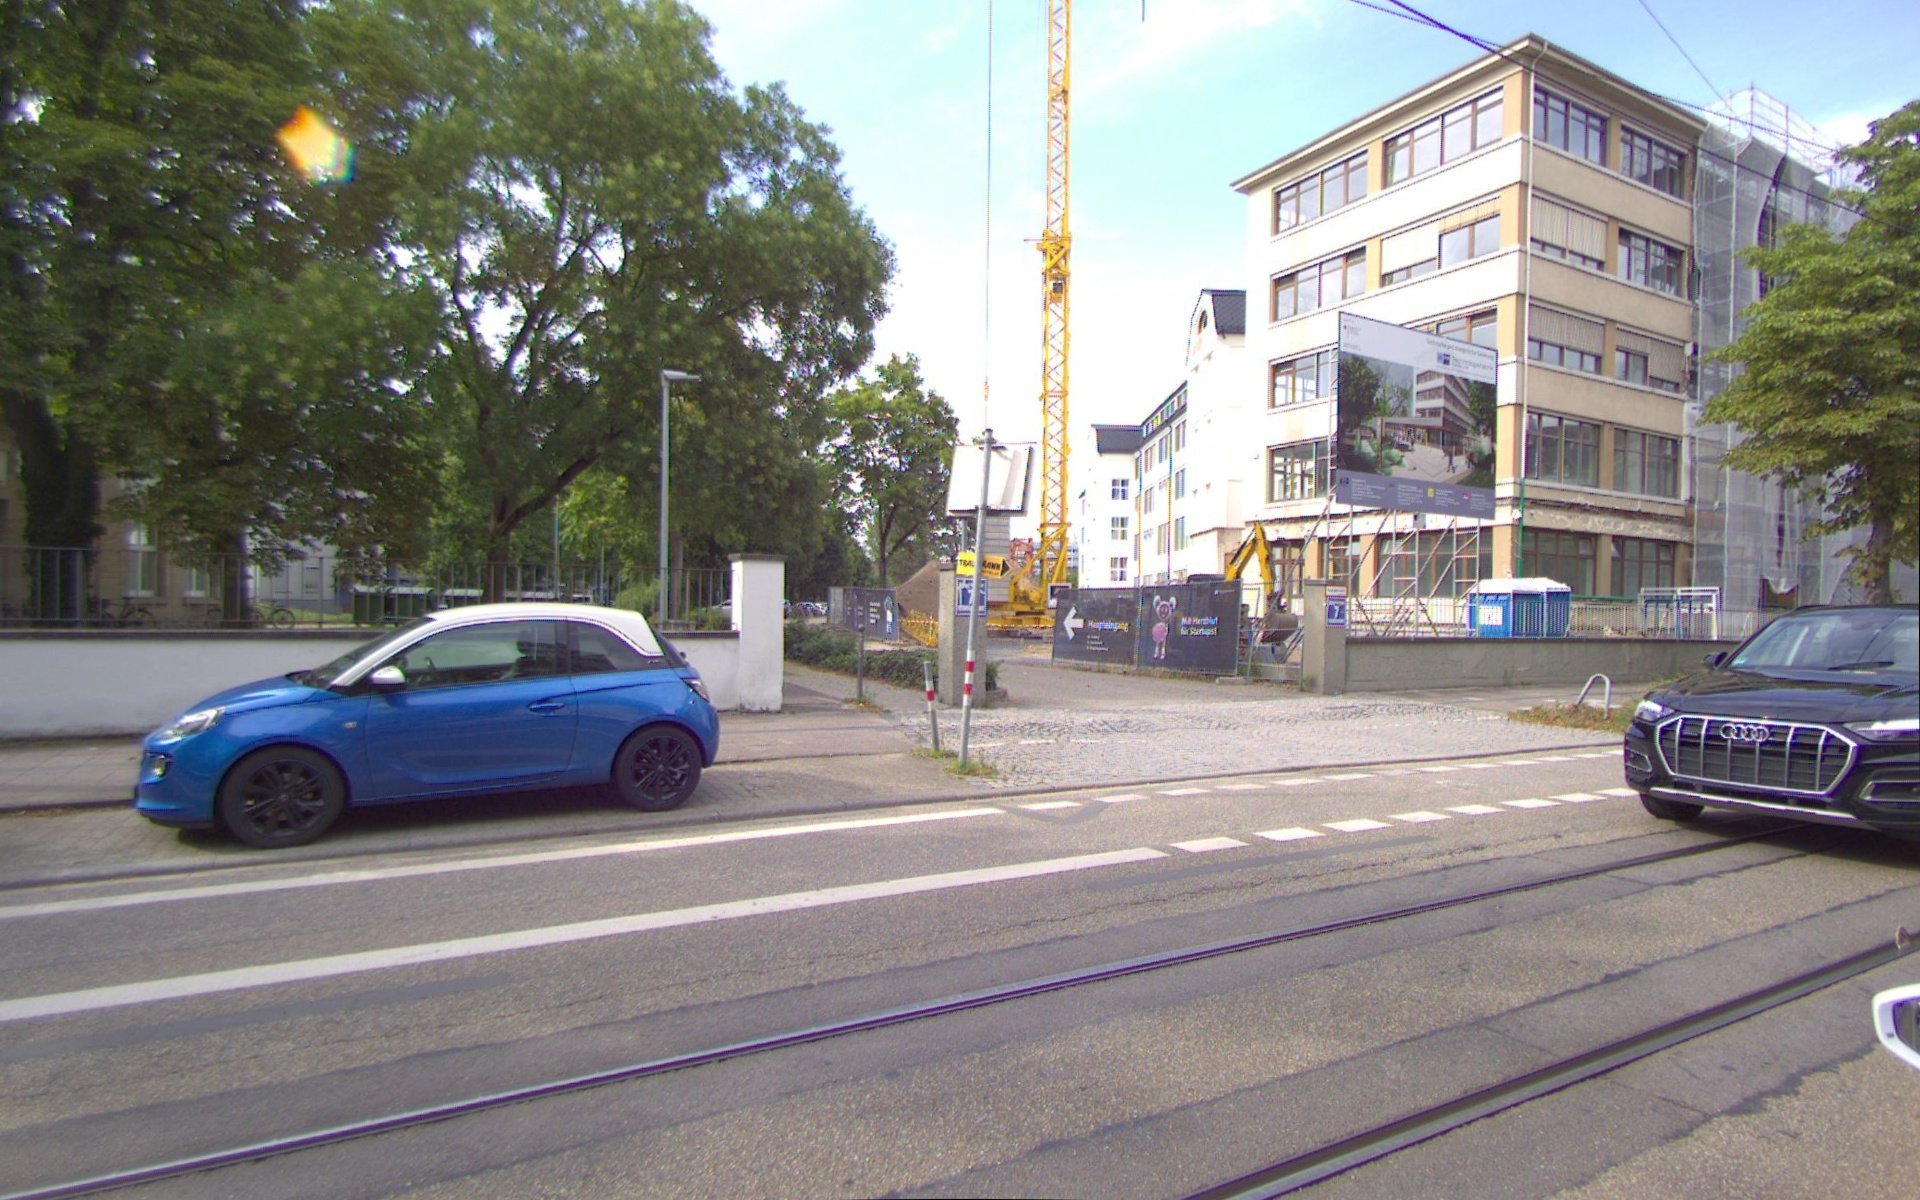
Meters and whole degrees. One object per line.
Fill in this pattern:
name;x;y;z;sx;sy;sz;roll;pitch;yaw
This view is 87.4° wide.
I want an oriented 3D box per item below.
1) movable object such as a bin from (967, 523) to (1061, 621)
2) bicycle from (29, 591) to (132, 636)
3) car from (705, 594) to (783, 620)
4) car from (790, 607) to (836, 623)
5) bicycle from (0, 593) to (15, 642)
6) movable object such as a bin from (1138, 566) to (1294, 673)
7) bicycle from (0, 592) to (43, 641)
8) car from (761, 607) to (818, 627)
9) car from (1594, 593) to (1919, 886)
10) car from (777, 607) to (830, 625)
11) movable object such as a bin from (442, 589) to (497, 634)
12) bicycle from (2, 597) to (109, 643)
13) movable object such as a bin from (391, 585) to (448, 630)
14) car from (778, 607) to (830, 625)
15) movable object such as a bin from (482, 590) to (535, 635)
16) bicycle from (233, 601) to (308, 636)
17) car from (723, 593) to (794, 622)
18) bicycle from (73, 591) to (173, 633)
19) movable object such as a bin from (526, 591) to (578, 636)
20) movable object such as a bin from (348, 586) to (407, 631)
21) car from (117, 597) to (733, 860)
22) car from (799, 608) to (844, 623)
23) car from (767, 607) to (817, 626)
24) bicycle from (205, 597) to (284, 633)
movable object such as a bin;4.256;-1.870;75.036;3.781;6.758;10.988;2;0;20
bicycle;-21.944;0.326;25.077;1.940;1.057;0.594;1;1;-4
car;-13.828;0.450;64.598;4.719;1.508;1.997;2;0;-8
car;-15.506;1.598;105.873;4.719;1.508;1.997;2;0;-8
bicycle;-21.832;0.363;21.816;1.940;1.057;0.594;1;1;-4
movable object such as a bin;6.283;0.479;24.988;2.459;2.475;3.048;2;0;-19
bicycle;-21.915;0.349;22.596;1.940;1.057;0.594;1;1;-4
car;-14.536;1.441;85.989;4.719;1.508;1.997;2;0;-8
car;6.843;0.816;7.425;4.282;1.634;1.839;1;0;-29
car;-14.310;1.477;91.975;4.719;1.508;1.997;2;0;-8
movable object such as a bin;-16.438;0.381;33.705;1.259;1.449;1.122;2;0;-2
bicycle;-21.858;0.473;24.297;1.940;1.057;0.594;1;1;-4
movable object such as a bin;-18.011;0.241;33.506;1.259;1.449;1.122;2;0;-2
car;-14.693;1.494;94.800;4.719;1.508;1.997;2;0;-8
movable object such as a bin;-15.100;0.421;33.632;1.259;1.449;1.122;2;0;-2
bicycle;-22.200;0.593;32.351;1.940;1.057;0.594;1;1;-4
car;-15.179;0.569;75.889;4.965;1.979;1.999;2;0;-4
bicycle;-22.345;0.324;26.860;1.953;1.057;0.590;1;1;-28
movable object such as a bin;-13.582;0.456;33.467;1.259;1.449;1.122;2;0;-2
movable object such as a bin;-19.374;0.290;33.442;1.259;1.449;1.122;2;0;-2
car;-3.635;0.756;7.305;3.560;1.484;1.620;1;0;-30
car;-15.025;1.644;108.885;4.719;1.508;1.997;2;0;-8
car;-14.782;1.470;88.653;4.268;1.564;1.751;2;0;-8
bicycle;-22.079;0.463;30.996;1.940;1.057;0.594;1;1;-4
